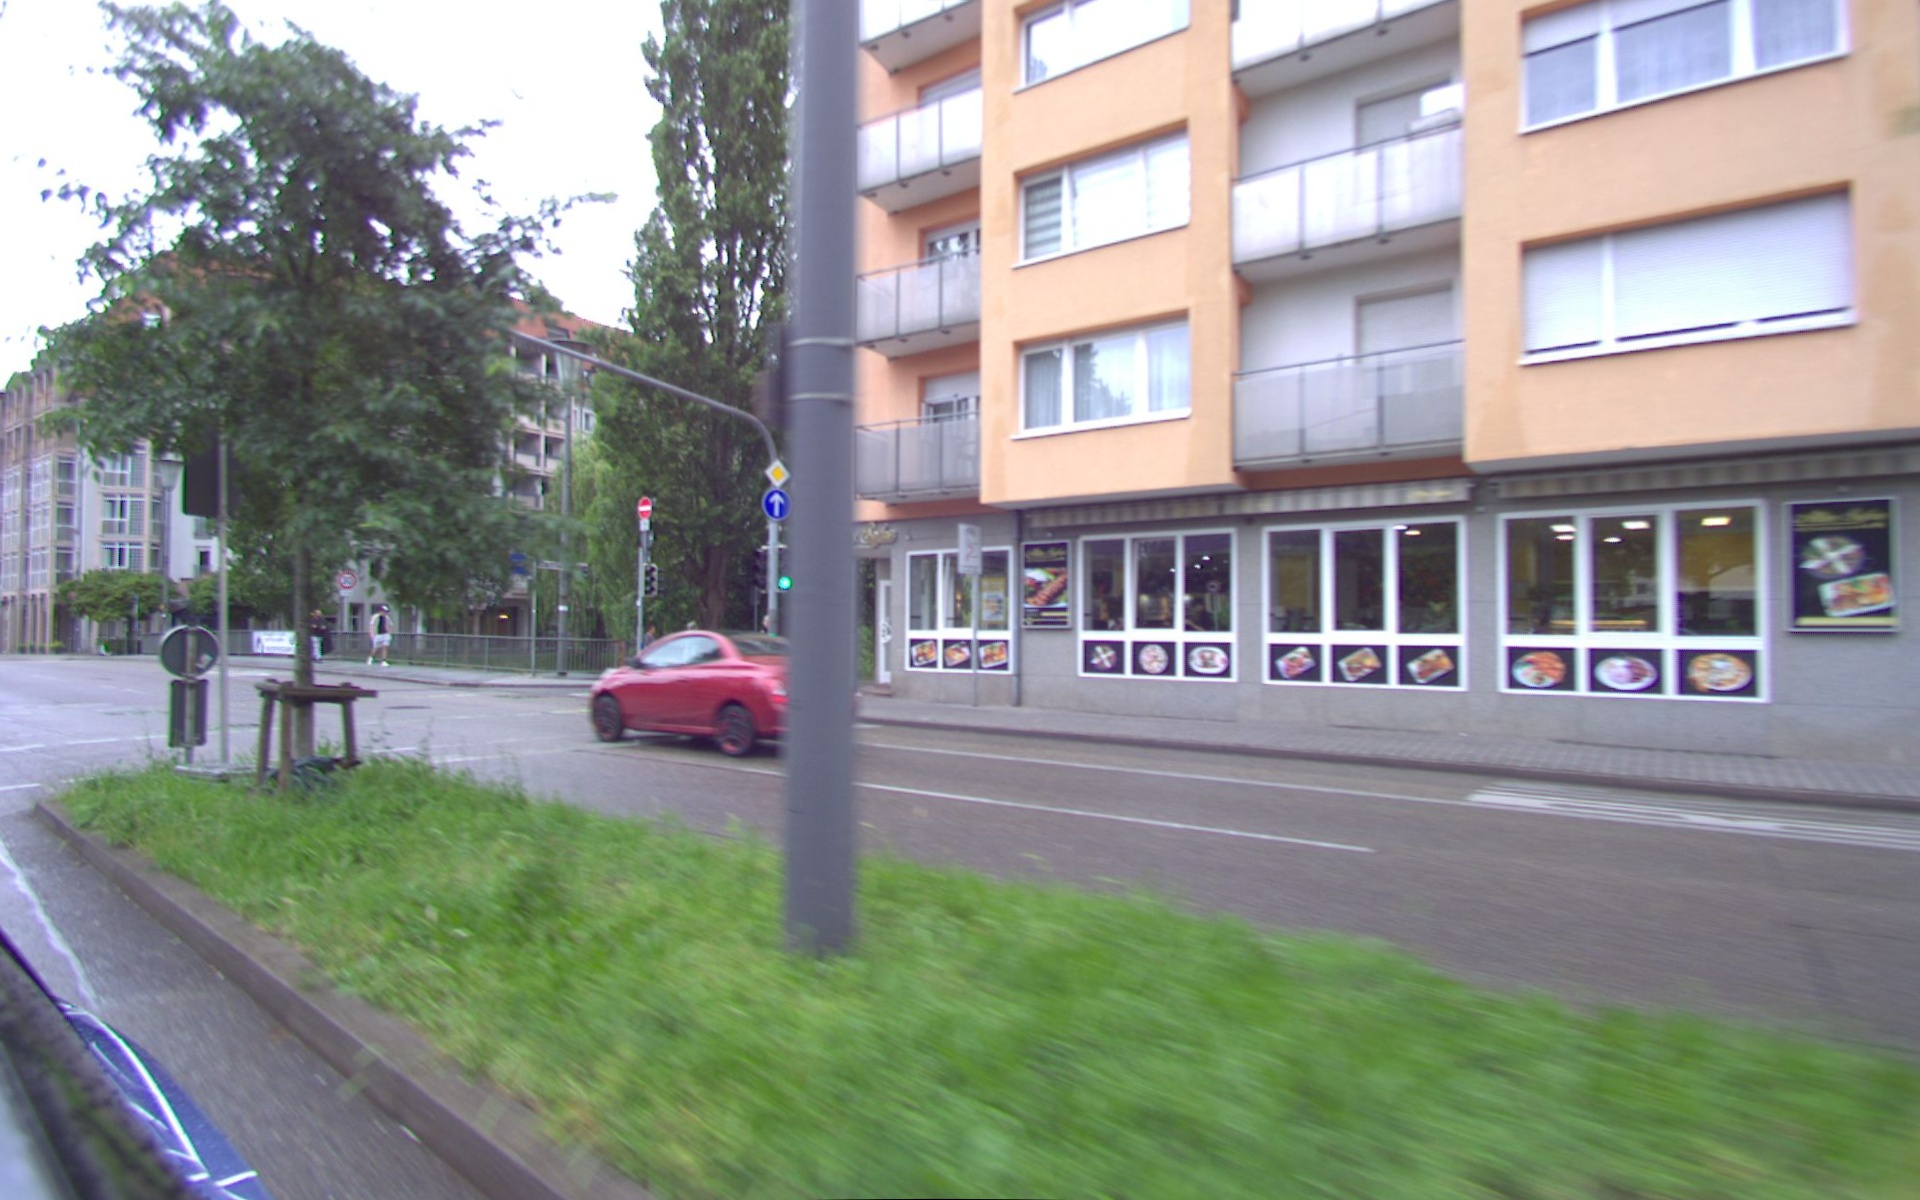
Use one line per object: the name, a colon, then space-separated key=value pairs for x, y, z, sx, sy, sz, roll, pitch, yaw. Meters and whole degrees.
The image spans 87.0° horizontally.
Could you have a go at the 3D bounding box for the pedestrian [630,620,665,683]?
pedestrian: x=-8.587 y=1.412 z=27.799 sx=0.674 sy=1.704 sz=0.745 roll=0 pitch=-2 yaw=5

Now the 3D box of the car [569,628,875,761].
car: x=-3.015 y=1.078 z=12.530 sx=3.827 sy=1.404 sz=1.552 roll=-1 pitch=-4 yaw=36

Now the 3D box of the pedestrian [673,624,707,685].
pedestrian: x=-7.458 y=1.496 z=27.999 sx=0.736 sy=1.661 sz=0.683 roll=0 pitch=-2 yaw=0

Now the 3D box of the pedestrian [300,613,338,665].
pedestrian: x=-21.249 y=1.296 z=33.551 sx=0.798 sy=1.708 sz=0.758 roll=-1 pitch=-3 yaw=34

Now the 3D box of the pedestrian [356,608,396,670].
pedestrian: x=-18.004 y=1.200 z=31.205 sx=0.798 sy=1.901 sz=0.738 roll=-1 pitch=-3 yaw=34

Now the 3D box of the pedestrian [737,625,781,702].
pedestrian: x=-3.924 y=1.230 z=19.757 sx=0.604 sy=1.452 sz=0.557 roll=-2 pitch=0 yaw=18
